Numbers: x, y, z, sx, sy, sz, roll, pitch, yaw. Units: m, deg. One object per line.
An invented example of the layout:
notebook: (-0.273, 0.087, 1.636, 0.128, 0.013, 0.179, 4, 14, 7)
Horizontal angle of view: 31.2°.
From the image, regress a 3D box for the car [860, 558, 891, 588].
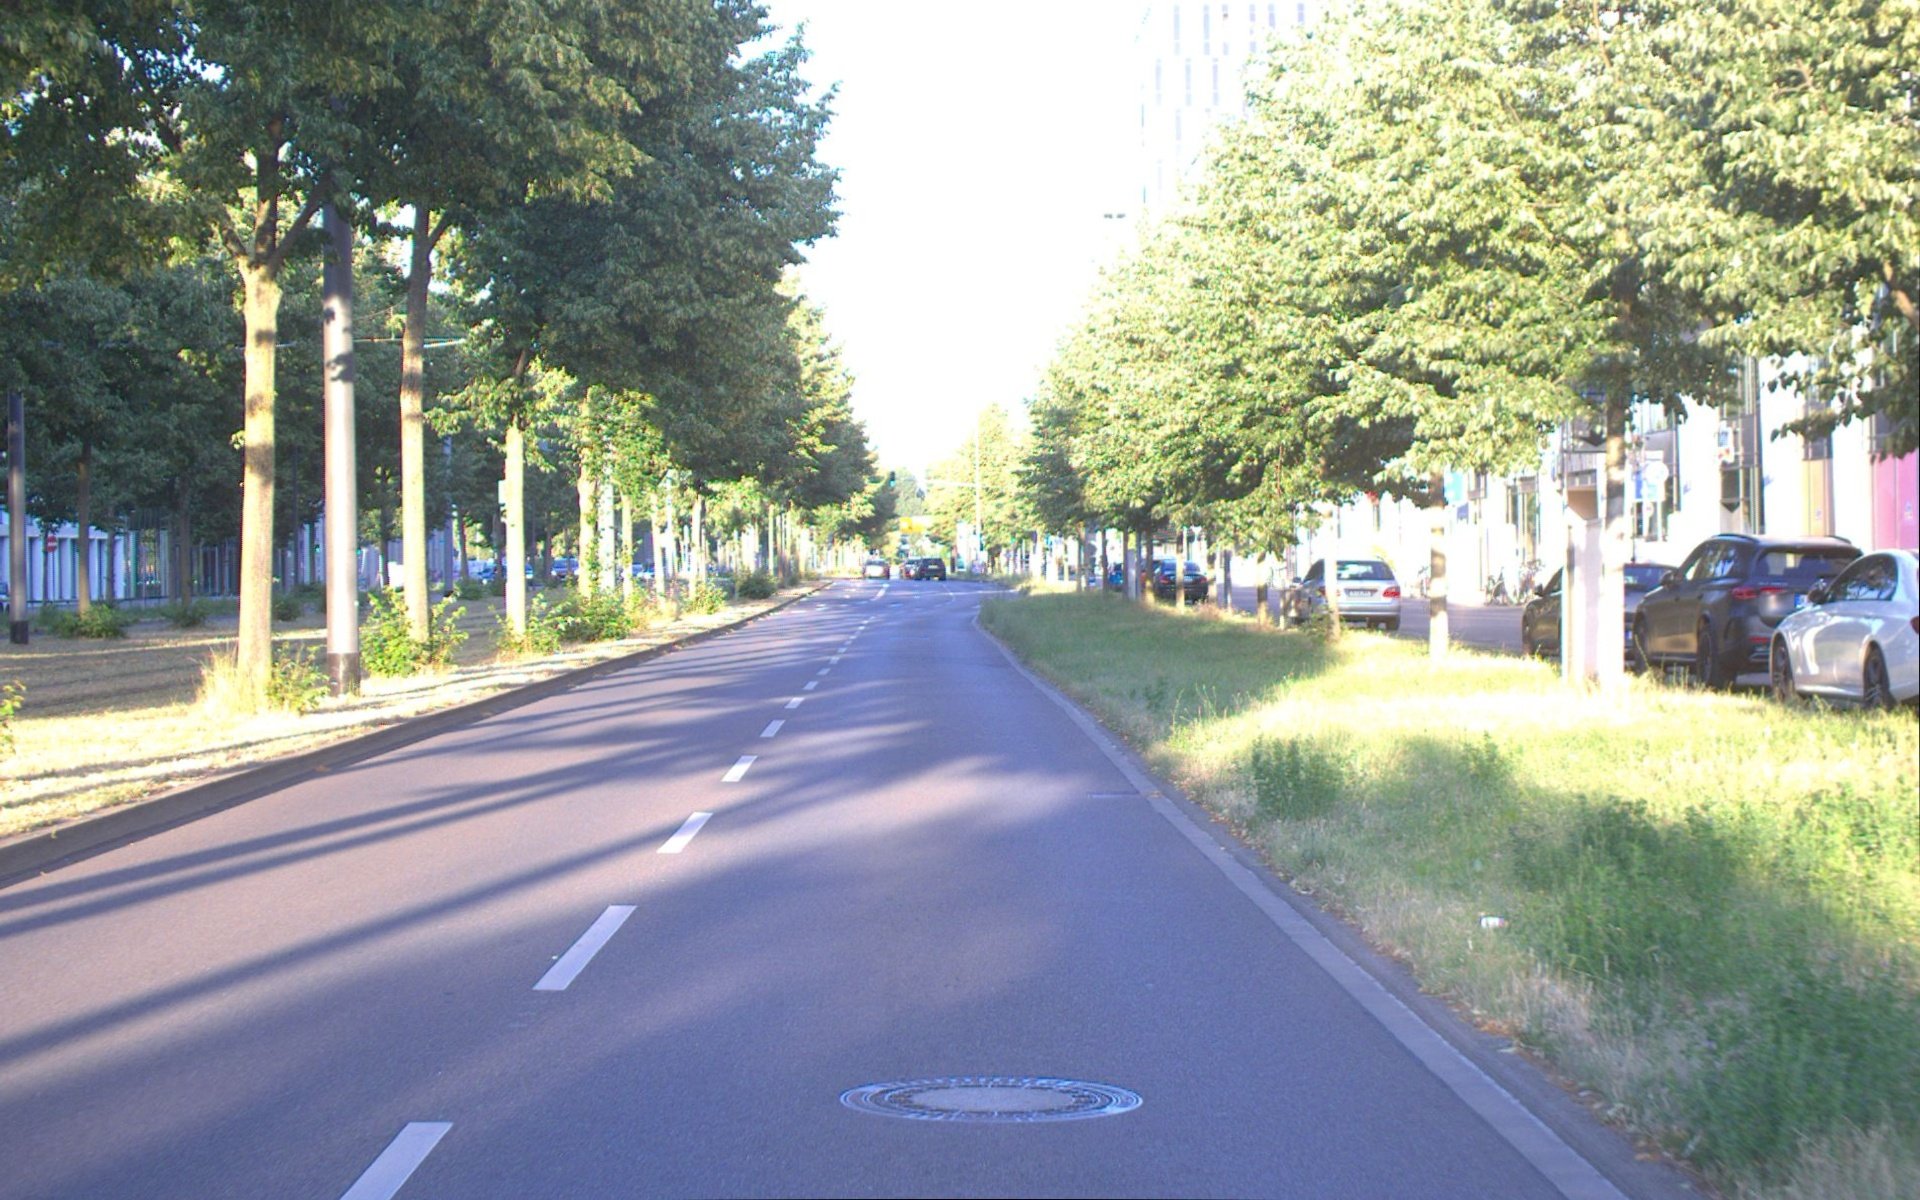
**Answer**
car: (-5.722, -1.835, 232.836, 2.087, 2.007, 4.000, -1, 1, -1)

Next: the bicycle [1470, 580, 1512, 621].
bicycle: (14.089, 0.015, 91.258, 0.533, 1.057, 1.781, -3, 1, -10)

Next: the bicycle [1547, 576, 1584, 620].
bicycle: (15.260, -0.064, 86.687, 0.533, 1.057, 1.857, -3, 1, 0)

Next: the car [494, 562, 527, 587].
car: (-27.824, -1.583, 212.747, 1.833, 1.485, 3.508, -1, 1, -4)

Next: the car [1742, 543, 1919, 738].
car: (8.181, 0.275, 28.946, 1.920, 1.496, 5.010, -1, 1, -1)

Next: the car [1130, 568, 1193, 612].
car: (7.092, -0.358, 121.322, 1.854, 1.524, 4.483, 1, 0, -1)

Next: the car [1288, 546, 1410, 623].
car: (7.894, -0.329, 70.088, 1.808, 1.496, 4.826, -1, 1, -1)

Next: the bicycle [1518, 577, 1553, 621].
bicycle: (14.699, -0.031, 87.864, 0.533, 1.057, 1.857, -3, 1, 0)

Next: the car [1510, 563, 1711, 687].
car: (8.240, 0.276, 43.873, 1.724, 1.496, 4.233, 0, 1, 0)

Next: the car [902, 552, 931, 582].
car: (-2.986, -2.284, 237.984, 1.993, 2.007, 4.000, 0, 1, 0)

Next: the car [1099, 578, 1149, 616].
car: (6.657, -0.130, 140.037, 1.724, 1.524, 4.268, 1, 0, -1)

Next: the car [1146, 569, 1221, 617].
car: (7.390, -0.245, 114.084, 1.943, 1.543, 4.812, -1, 0, -3)

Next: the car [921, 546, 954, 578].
car: (-1.424, -2.404, 218.326, 1.993, 2.007, 4.000, -1, 1, -1)

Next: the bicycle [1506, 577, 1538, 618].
bicycle: (14.797, -0.070, 90.532, 0.533, 1.057, 1.857, -1, 0, 0)

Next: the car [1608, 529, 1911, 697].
car: (8.361, 0.106, 36.399, 1.953, 1.618, 4.821, 1, 0, -1)

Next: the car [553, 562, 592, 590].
car: (-22.764, -1.418, 201.871, 1.885, 1.572, 4.182, -1, 0, -1)
